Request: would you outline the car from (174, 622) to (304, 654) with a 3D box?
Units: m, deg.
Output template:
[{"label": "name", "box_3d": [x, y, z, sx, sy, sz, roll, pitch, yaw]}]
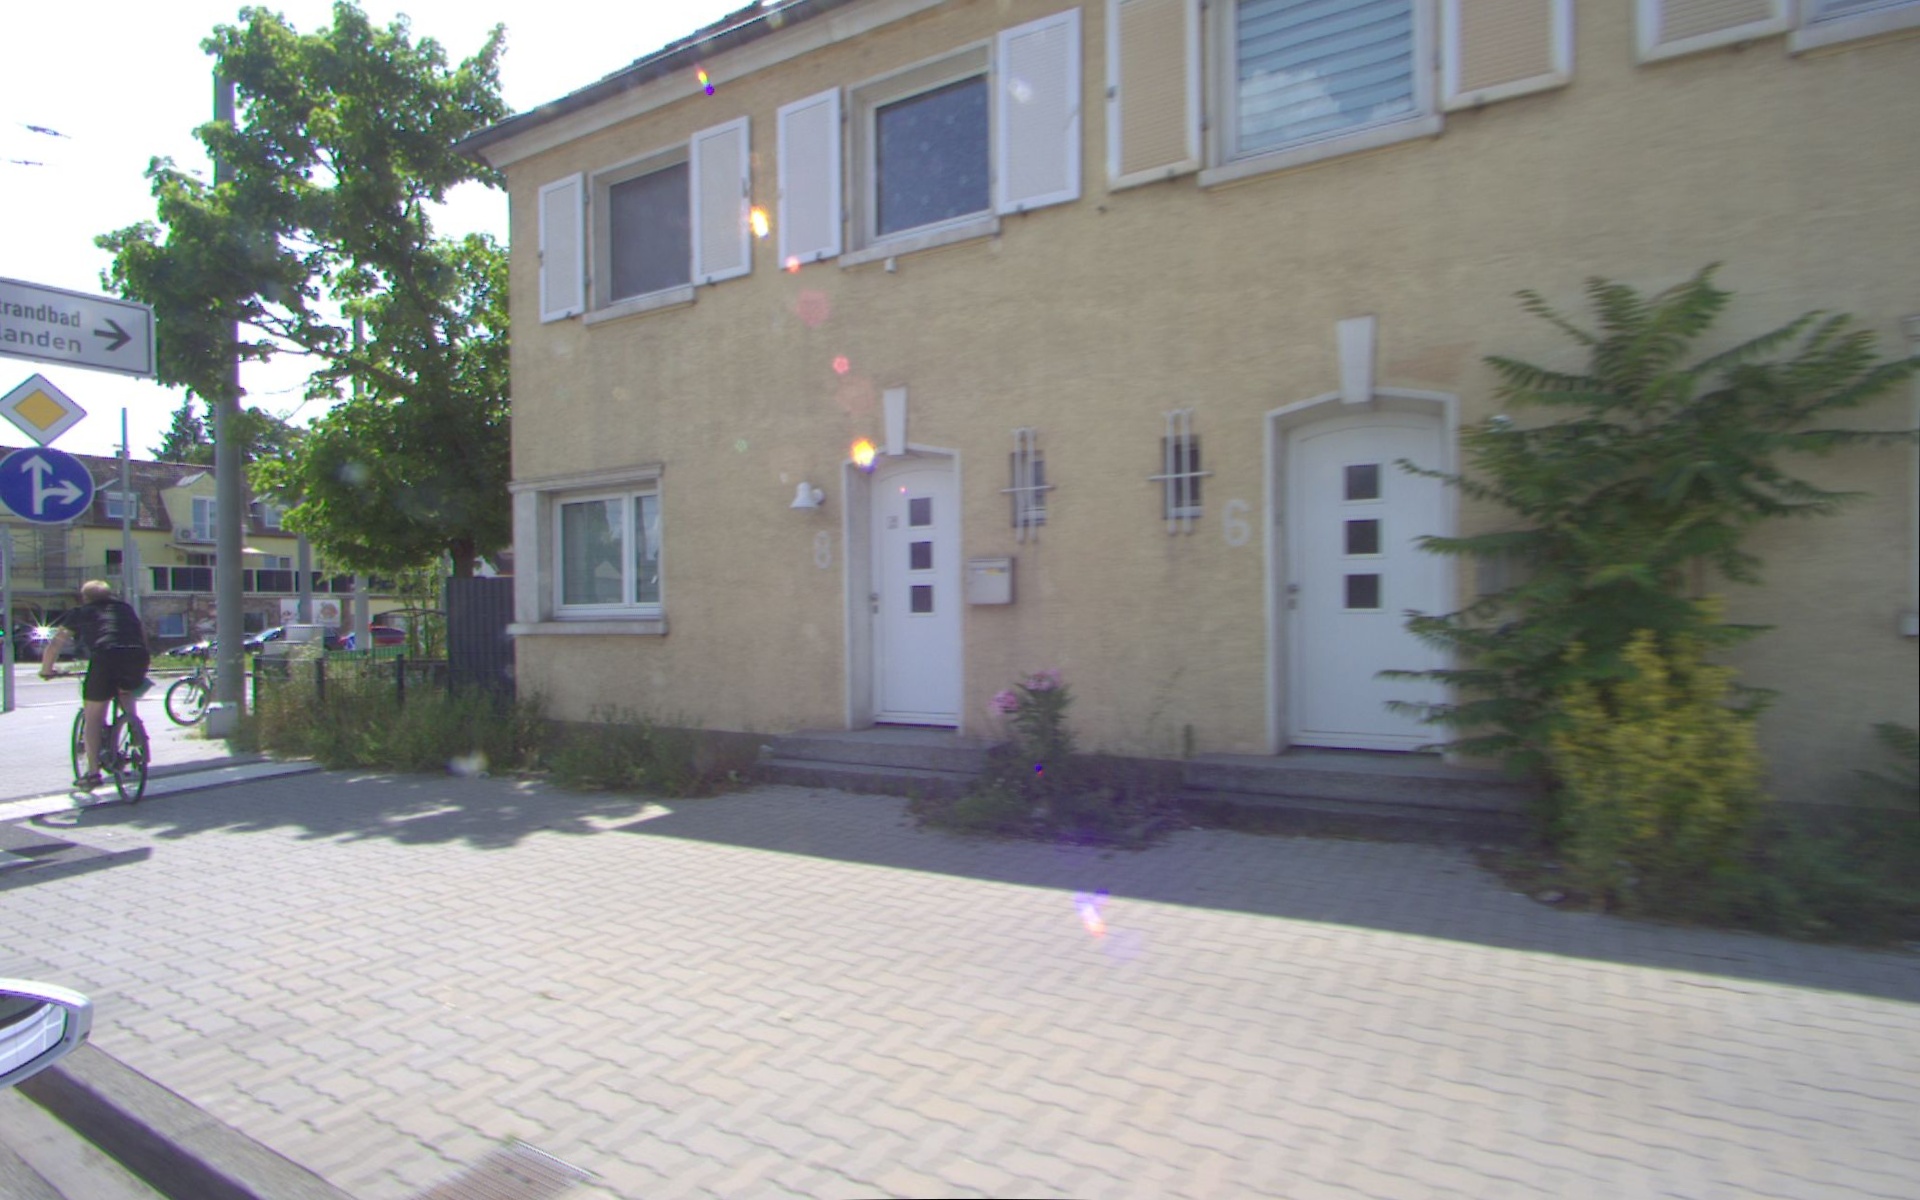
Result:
[{"label": "car", "box_3d": [-31.349, 1.679, 43.681, 1.713, 1.325, 4.313, -1, -3, 28]}]

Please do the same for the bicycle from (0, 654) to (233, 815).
[{"label": "bicycle", "box_3d": [-6.886, 1.021, 8.100, 1.940, 1.090, 0.827, 0, 1, 28]}]

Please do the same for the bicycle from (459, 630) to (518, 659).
[{"label": "bicycle", "box_3d": [-13.801, 1.298, 29.344, 0.497, 0.791, 1.578, -1, -1, 27]}]

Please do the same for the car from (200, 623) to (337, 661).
[{"label": "car", "box_3d": [-28.313, 1.691, 41.163, 1.713, 1.346, 4.310, -1, 0, 28]}]

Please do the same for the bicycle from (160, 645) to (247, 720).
[{"label": "bicycle", "box_3d": [-11.040, 1.171, 14.661, 0.455, 1.031, 1.753, 0, -2, -18]}]

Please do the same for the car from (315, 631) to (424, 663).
[{"label": "car", "box_3d": [-28.604, 2.274, 48.616, 1.713, 1.492, 4.313, -1, -3, 28]}]

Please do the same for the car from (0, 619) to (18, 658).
[{"label": "car", "box_3d": [-41.929, 1.650, 42.442, 4.073, 1.616, 1.990, -2, -3, 32]}]

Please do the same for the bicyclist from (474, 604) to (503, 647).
[{"label": "bicyclist", "box_3d": [-13.818, 0.744, 29.329, 0.501, 1.250, 0.576, -1, 0, 27]}]

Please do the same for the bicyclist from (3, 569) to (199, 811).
[{"label": "bicyclist", "box_3d": [-6.957, 0.678, 8.128, 1.067, 1.818, 0.827, 0, 1, 28]}]

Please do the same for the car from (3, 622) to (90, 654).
[{"label": "car", "box_3d": [-40.589, 1.708, 44.471, 4.073, 1.368, 1.865, -2, -3, 32]}]
